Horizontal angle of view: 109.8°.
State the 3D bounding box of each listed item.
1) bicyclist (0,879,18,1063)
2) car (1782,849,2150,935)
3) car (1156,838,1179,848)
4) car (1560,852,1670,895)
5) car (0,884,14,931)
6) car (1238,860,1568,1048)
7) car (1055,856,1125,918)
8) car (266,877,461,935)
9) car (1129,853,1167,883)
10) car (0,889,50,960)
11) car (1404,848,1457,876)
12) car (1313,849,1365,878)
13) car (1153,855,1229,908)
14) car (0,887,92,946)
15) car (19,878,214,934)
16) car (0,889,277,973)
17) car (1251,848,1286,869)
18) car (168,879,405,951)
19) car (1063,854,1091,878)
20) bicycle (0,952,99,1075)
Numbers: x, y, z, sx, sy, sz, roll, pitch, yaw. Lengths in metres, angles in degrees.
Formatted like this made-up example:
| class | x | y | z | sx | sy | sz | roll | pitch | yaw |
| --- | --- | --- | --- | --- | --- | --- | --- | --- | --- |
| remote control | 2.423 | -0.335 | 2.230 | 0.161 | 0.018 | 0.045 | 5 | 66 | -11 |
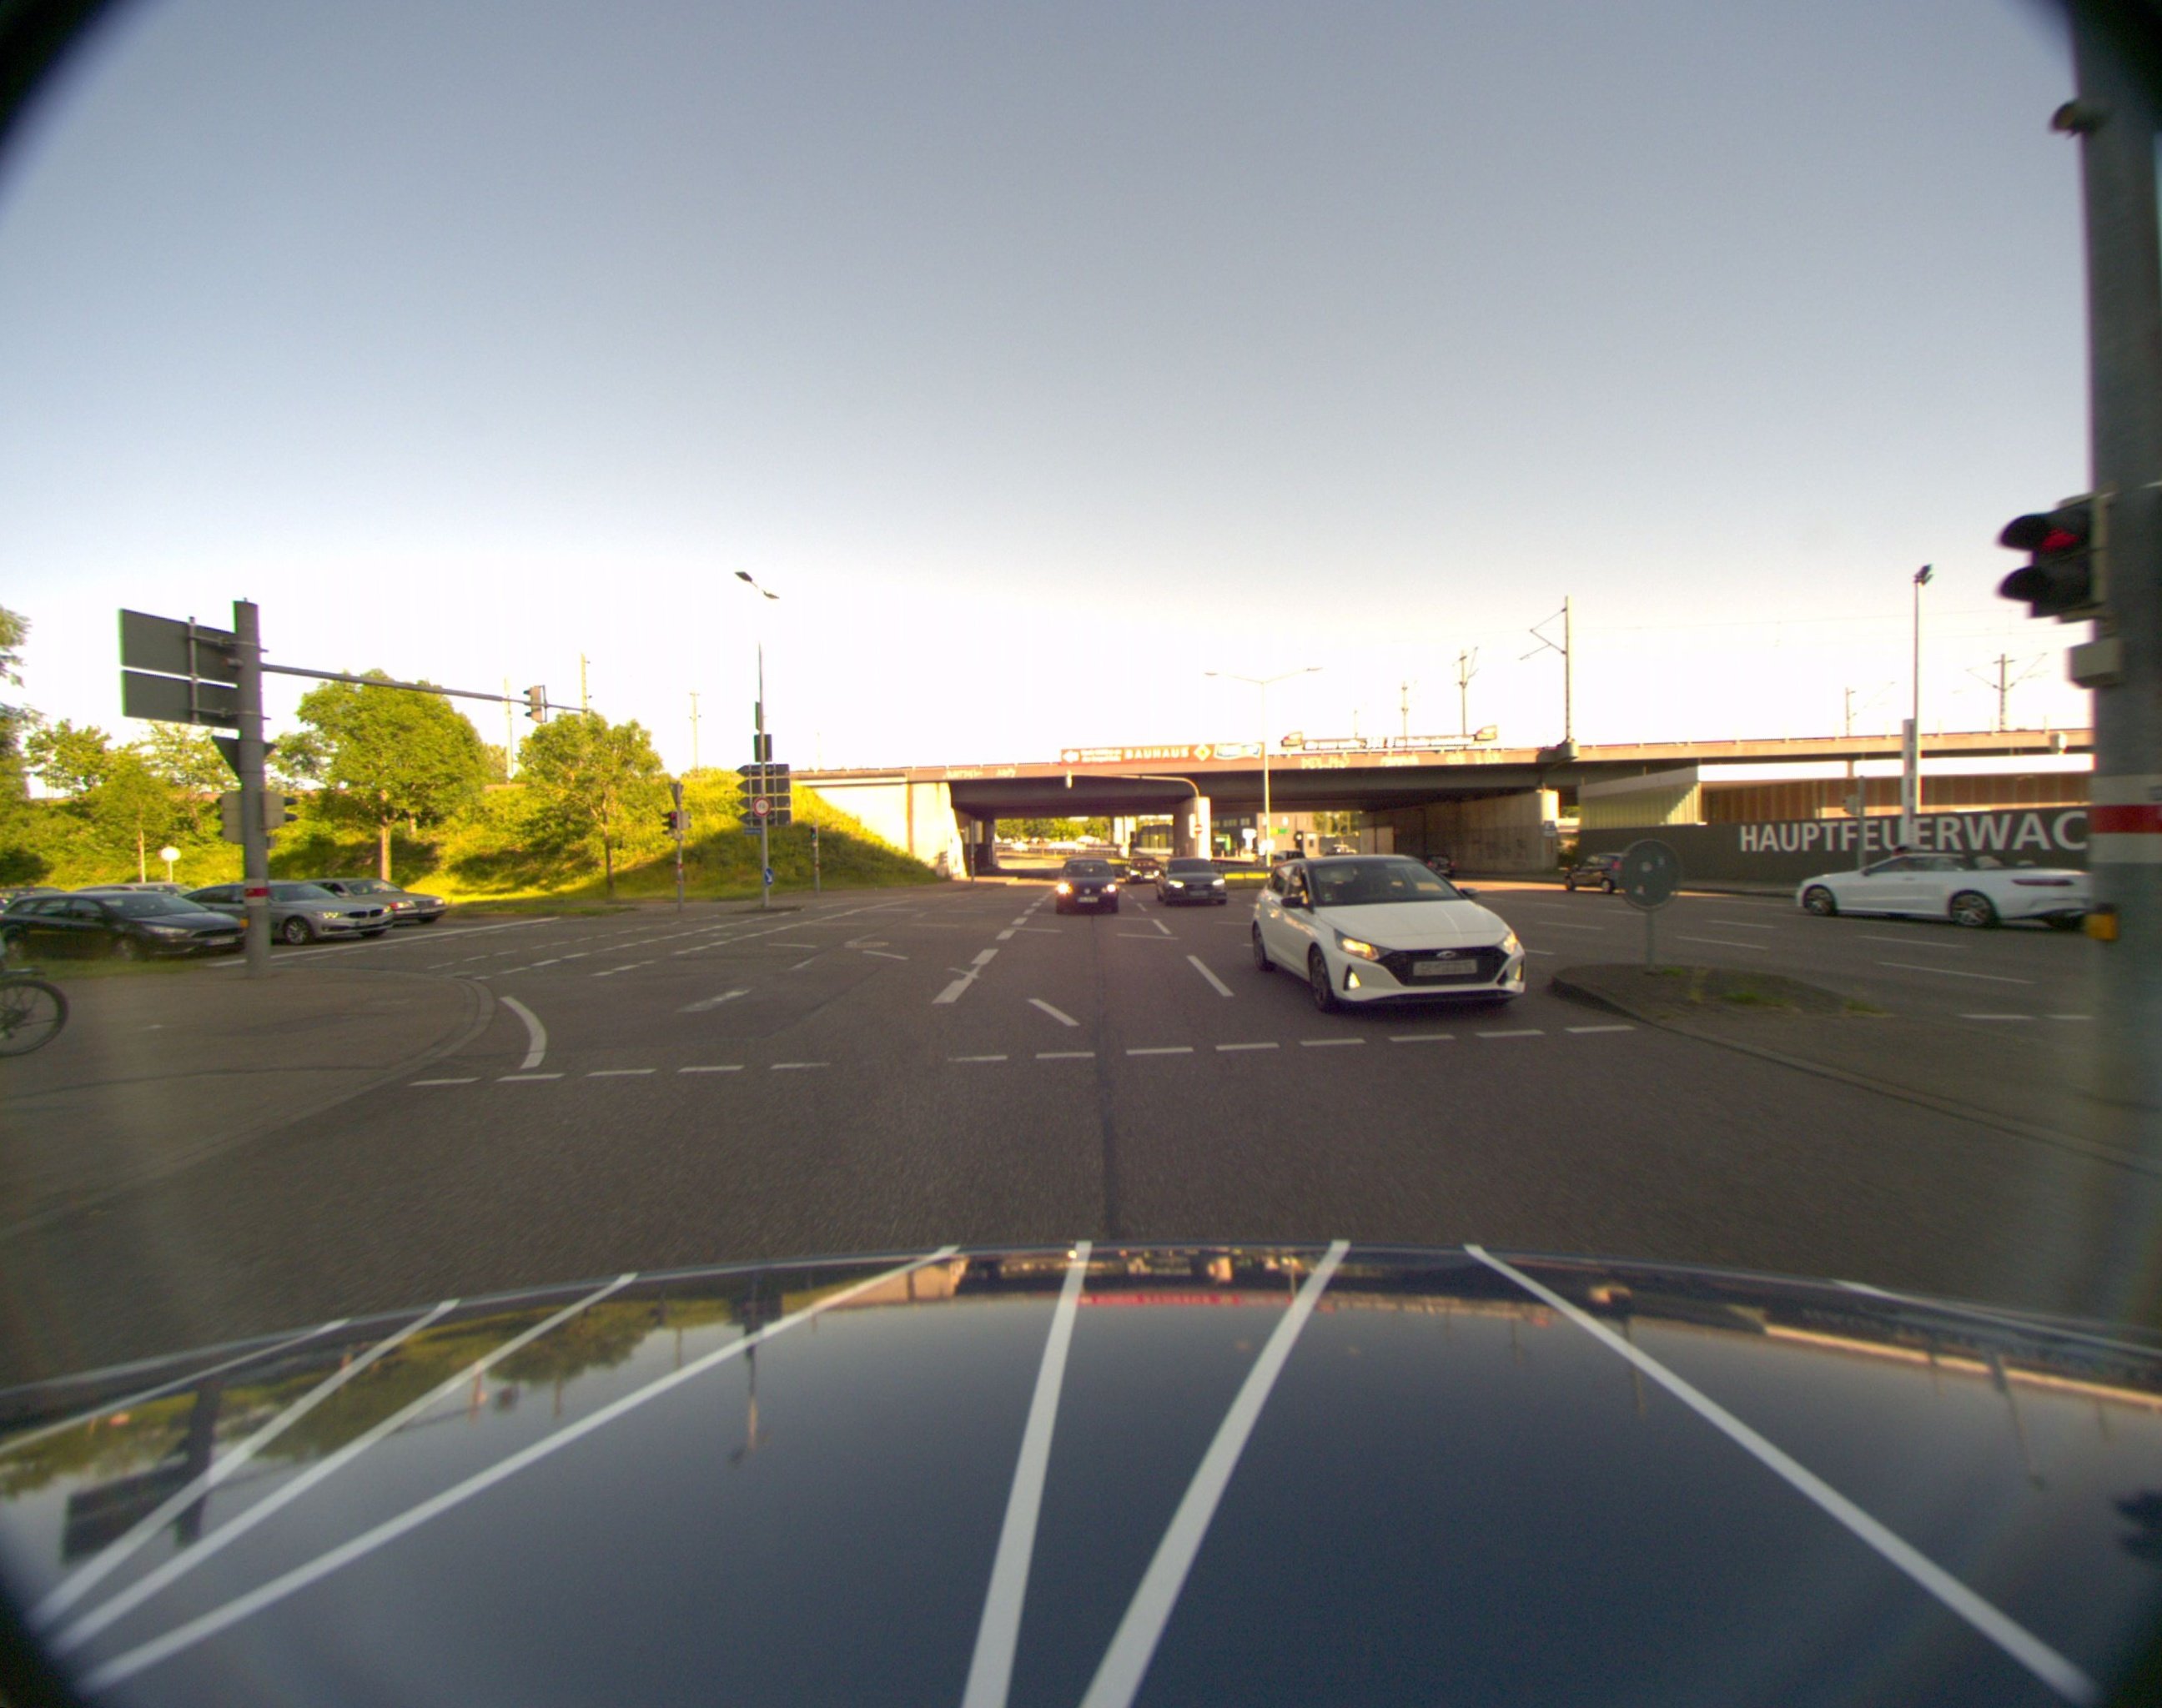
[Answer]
| class | x | y | z | sx | sy | sz | roll | pitch | yaw |
| --- | --- | --- | --- | --- | --- | --- | --- | --- | --- |
| bicyclist | -9.698 | 1.028 | 6.263 | 0.566 | 1.600 | 0.865 | -2 | 1 | 0 |
| car | 17.166 | 0.635 | 15.247 | 1.707 | 1.433 | 4.880 | 0 | 0 | 1 |
| car | 14.994 | -1.892 | 131.977 | 3.897 | 1.645 | 1.723 | -3 | 1 | 5 |
| car | 19.121 | 0.642 | 27.436 | 1.493 | 1.403 | 3.939 | -1 | 1 | 5 |
| car | -35.278 | 1.725 | 23.001 | 3.874 | 1.424 | 1.590 | -2 | 2 | 4 |
| car | 3.015 | 0.819 | 8.157 | 1.782 | 1.400 | 4.074 | -2 | 0 | 0 |
| car | 0.237 | 0.840 | 21.227 | 1.702 | 1.474 | 4.052 | -2 | 1 | 0 |
| car | -20.583 | 1.468 | 21.898 | 3.995 | 1.424 | 1.816 | -1 | 2 | 5 |
| car | 3.566 | 0.721 | 41.204 | 1.702 | 1.528 | 3.946 | -2 | 0 | 0 |
| car | -25.814 | 1.647 | 16.592 | 3.916 | 1.522 | 1.842 | -2 | 3 | 0 |
| car | 20.616 | 0.460 | 44.931 | 1.571 | 1.524 | 3.427 | -1 | 0 | 1 |
| car | 14.379 | 0.495 | 42.601 | 1.632 | 1.531 | 4.000 | 1 | 1 | 2 |
| car | 3.278 | 0.771 | 23.426 | 1.702 | 1.396 | 4.364 | -1 | 0 | 0 |
| car | -28.203 | 1.613 | 19.449 | 3.996 | 1.352 | 1.495 | -2 | 2 | 4 |
| car | -28.995 | 1.547 | 22.905 | 3.996 | 1.424 | 1.590 | -2 | 2 | 4 |
| car | -19.784 | 1.579 | 15.972 | 3.995 | 1.467 | 1.806 | -1 | 2 | 5 |
| car | 14.204 | 0.293 | 57.851 | 1.727 | 1.531 | 4.000 | 1 | 1 | 1 |
| car | -19.091 | 1.444 | 18.367 | 3.995 | 1.467 | 1.817 | -1 | 2 | 6 |
| car | -0.253 | 0.764 | 50.226 | 1.702 | 1.478 | 3.946 | -2 | 0 | 0 |
| bicycle | -9.675 | 1.428 | 6.221 | 0.573 | 0.986 | 2.046 | -2 | 0 | 0 |
